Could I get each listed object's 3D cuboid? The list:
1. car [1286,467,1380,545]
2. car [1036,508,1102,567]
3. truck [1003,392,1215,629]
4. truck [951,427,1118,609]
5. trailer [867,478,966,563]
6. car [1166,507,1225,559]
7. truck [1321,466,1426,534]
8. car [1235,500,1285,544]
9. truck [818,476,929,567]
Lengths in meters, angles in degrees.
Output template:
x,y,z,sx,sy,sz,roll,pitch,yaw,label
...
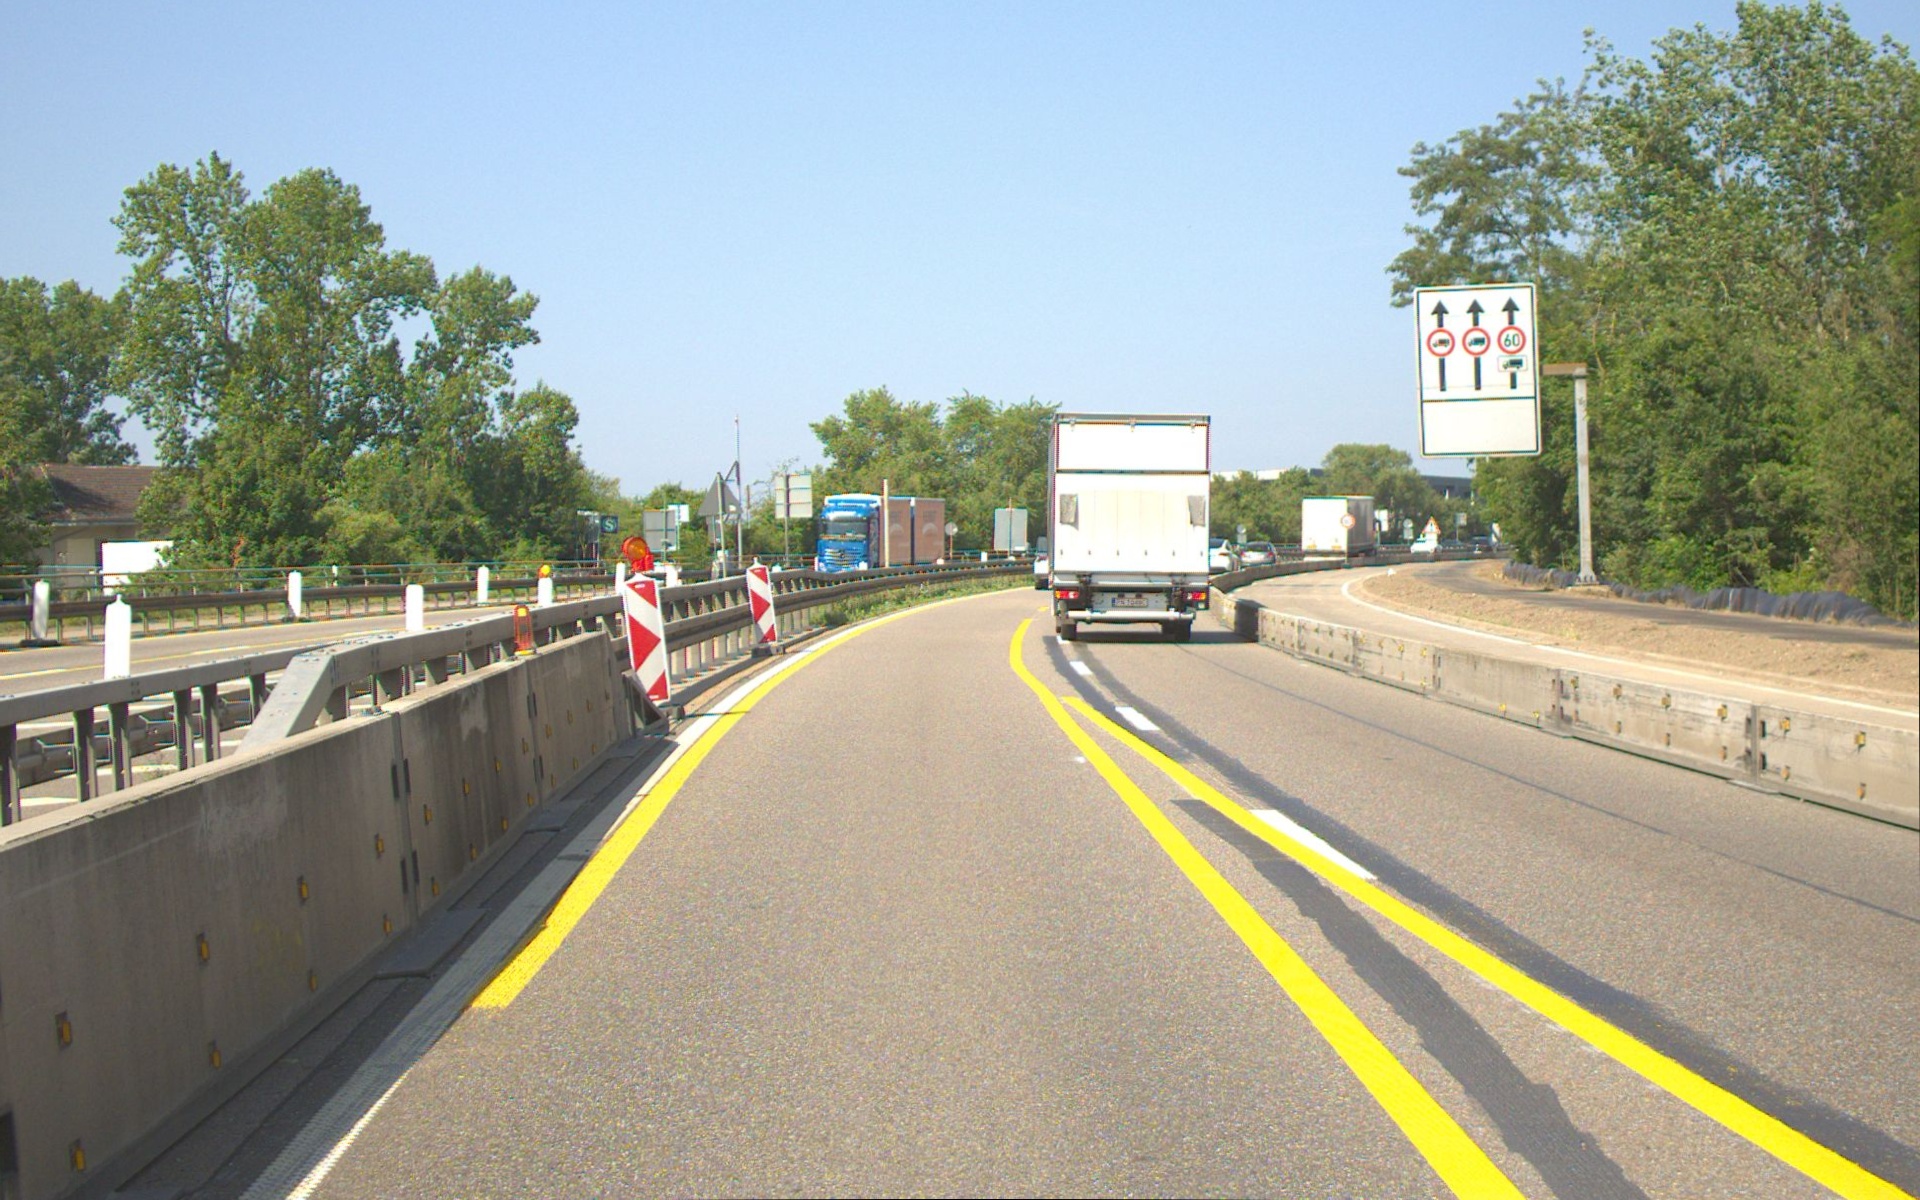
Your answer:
x,y,z,sx,sy,sz,roll,pitch,yaw,label
21.871,-5.513,200.878,4.209,4.237,10.656,-2,1,12,car
3.507,-2.023,110.120,1.817,1.770,4.000,-2,1,5,car
2.221,-1.395,53.803,2.634,3.415,7.234,1,1,-3,truck
1.594,-1.836,77.437,3.388,3.761,7.233,-2,1,0,truck
-2.102,-3.966,170.742,3.039,4.077,9.784,0,1,11,trailer
9.654,-2.743,140.787,1.994,2.007,3.999,-2,1,9,car
27.486,-6.680,228.126,4.225,4.252,10.230,-2,1,22,truck
14.519,-3.771,166.221,1.994,2.007,3.999,-2,1,10,car
-3.957,-3.692,160.684,3.039,4.077,10.620,0,1,11,truck
